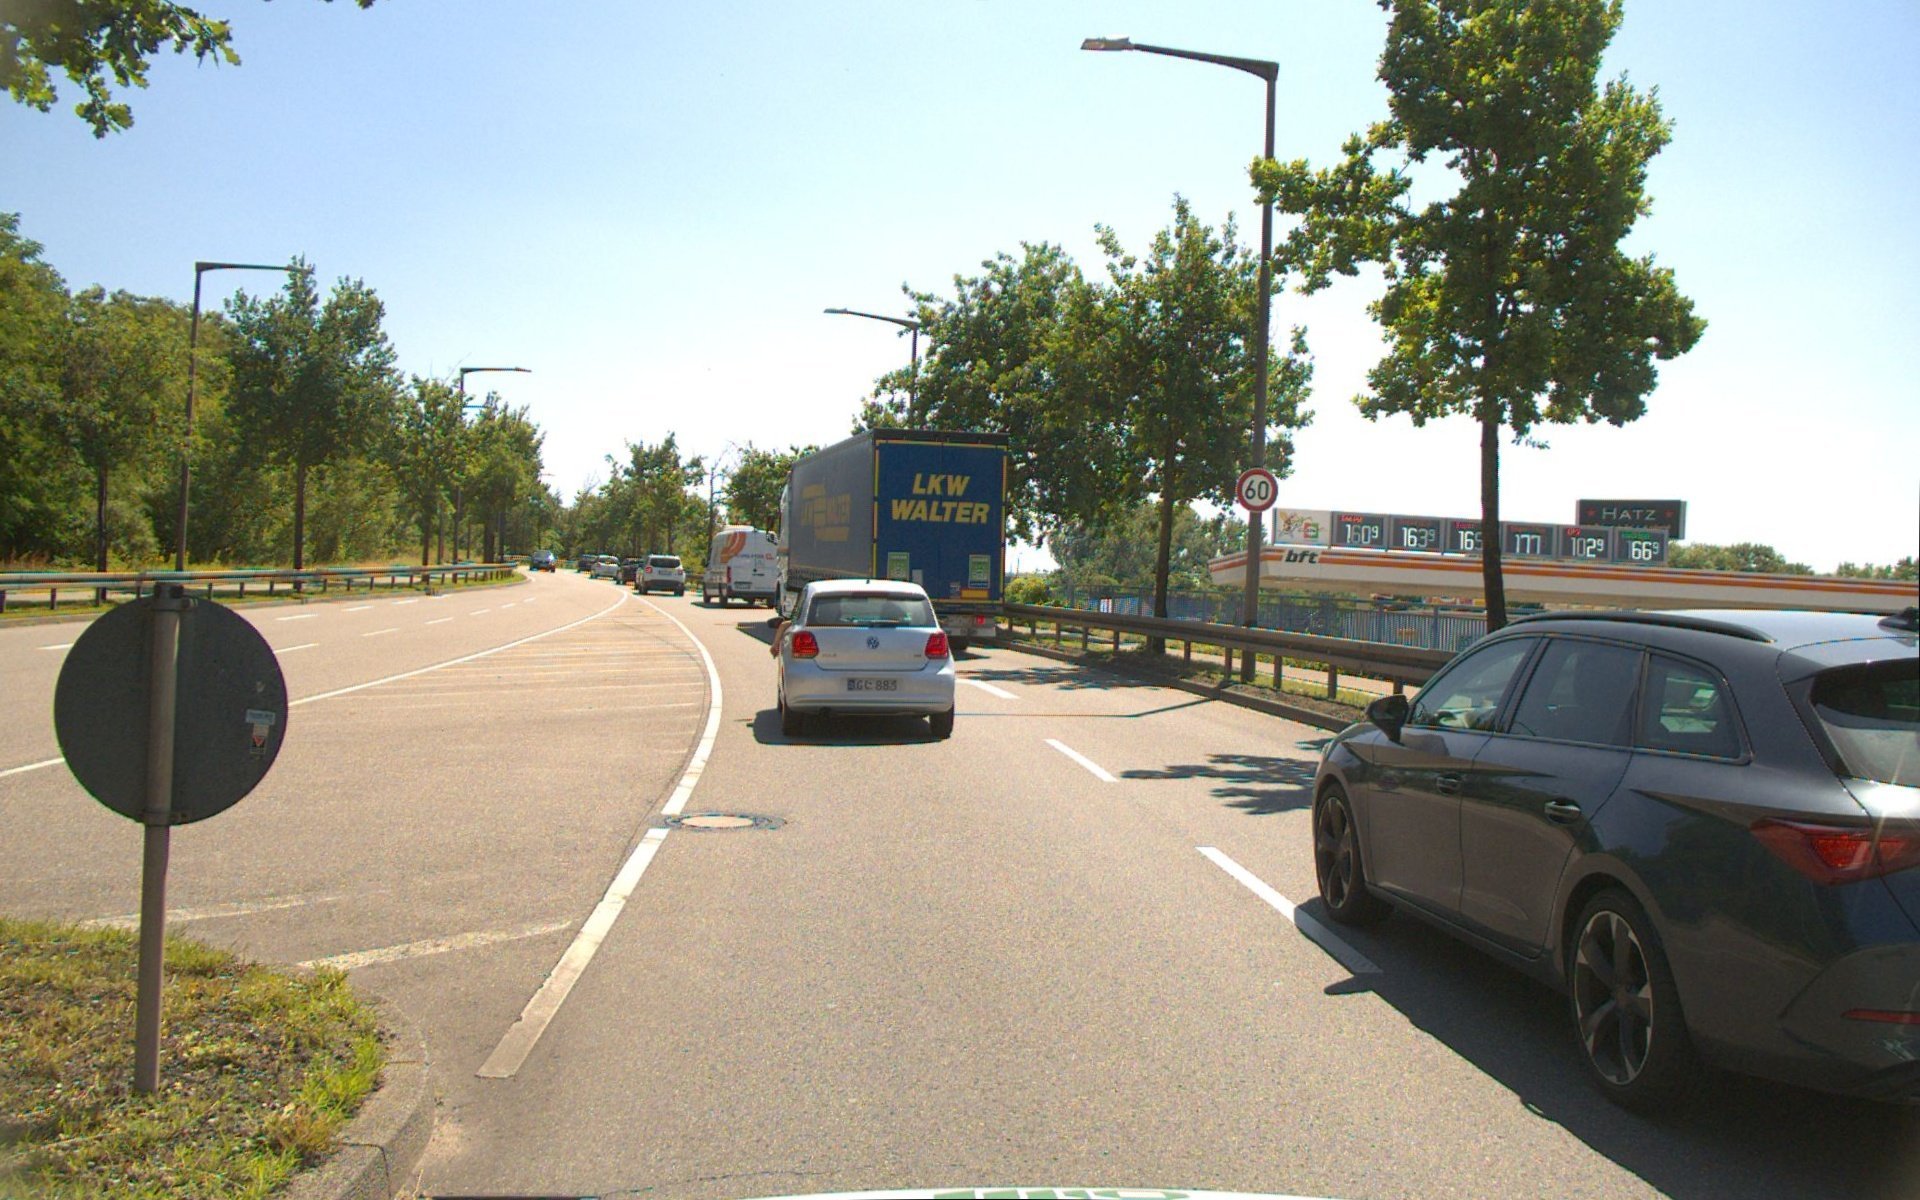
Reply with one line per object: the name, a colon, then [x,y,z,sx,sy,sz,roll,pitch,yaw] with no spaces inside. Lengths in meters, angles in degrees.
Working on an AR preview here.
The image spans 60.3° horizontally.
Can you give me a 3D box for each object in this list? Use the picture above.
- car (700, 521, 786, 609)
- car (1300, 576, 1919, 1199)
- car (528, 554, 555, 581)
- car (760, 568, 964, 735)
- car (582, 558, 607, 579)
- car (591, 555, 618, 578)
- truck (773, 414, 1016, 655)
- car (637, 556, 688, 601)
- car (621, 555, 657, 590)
car: [-7.954,-1.264,60.116,2.140,2.951,6.331,2,1,-16]
car: [2.652,0.740,6.003,1.573,1.481,4.230,2,-1,-5]
car: [-29.247,-2.283,115.590,1.649,1.700,3.744,1,2,-12]
car: [-1.085,0.495,16.704,1.616,1.464,3.528,2,-1,-10]
car: [-28.255,-2.427,128.031,1.634,1.491,3.572,2,-1,-10]
car: [-22.425,-2.096,104.276,1.581,1.384,3.649,2,0,-14]
truck: [-2.072,-1.196,38.079,2.783,4.272,16.424,2,0,-12]
car: [-12.841,-0.892,71.154,1.871,1.748,4.208,2,-1,-14]
car: [-17.687,-1.500,90.944,1.693,1.756,3.985,2,-1,-14]
